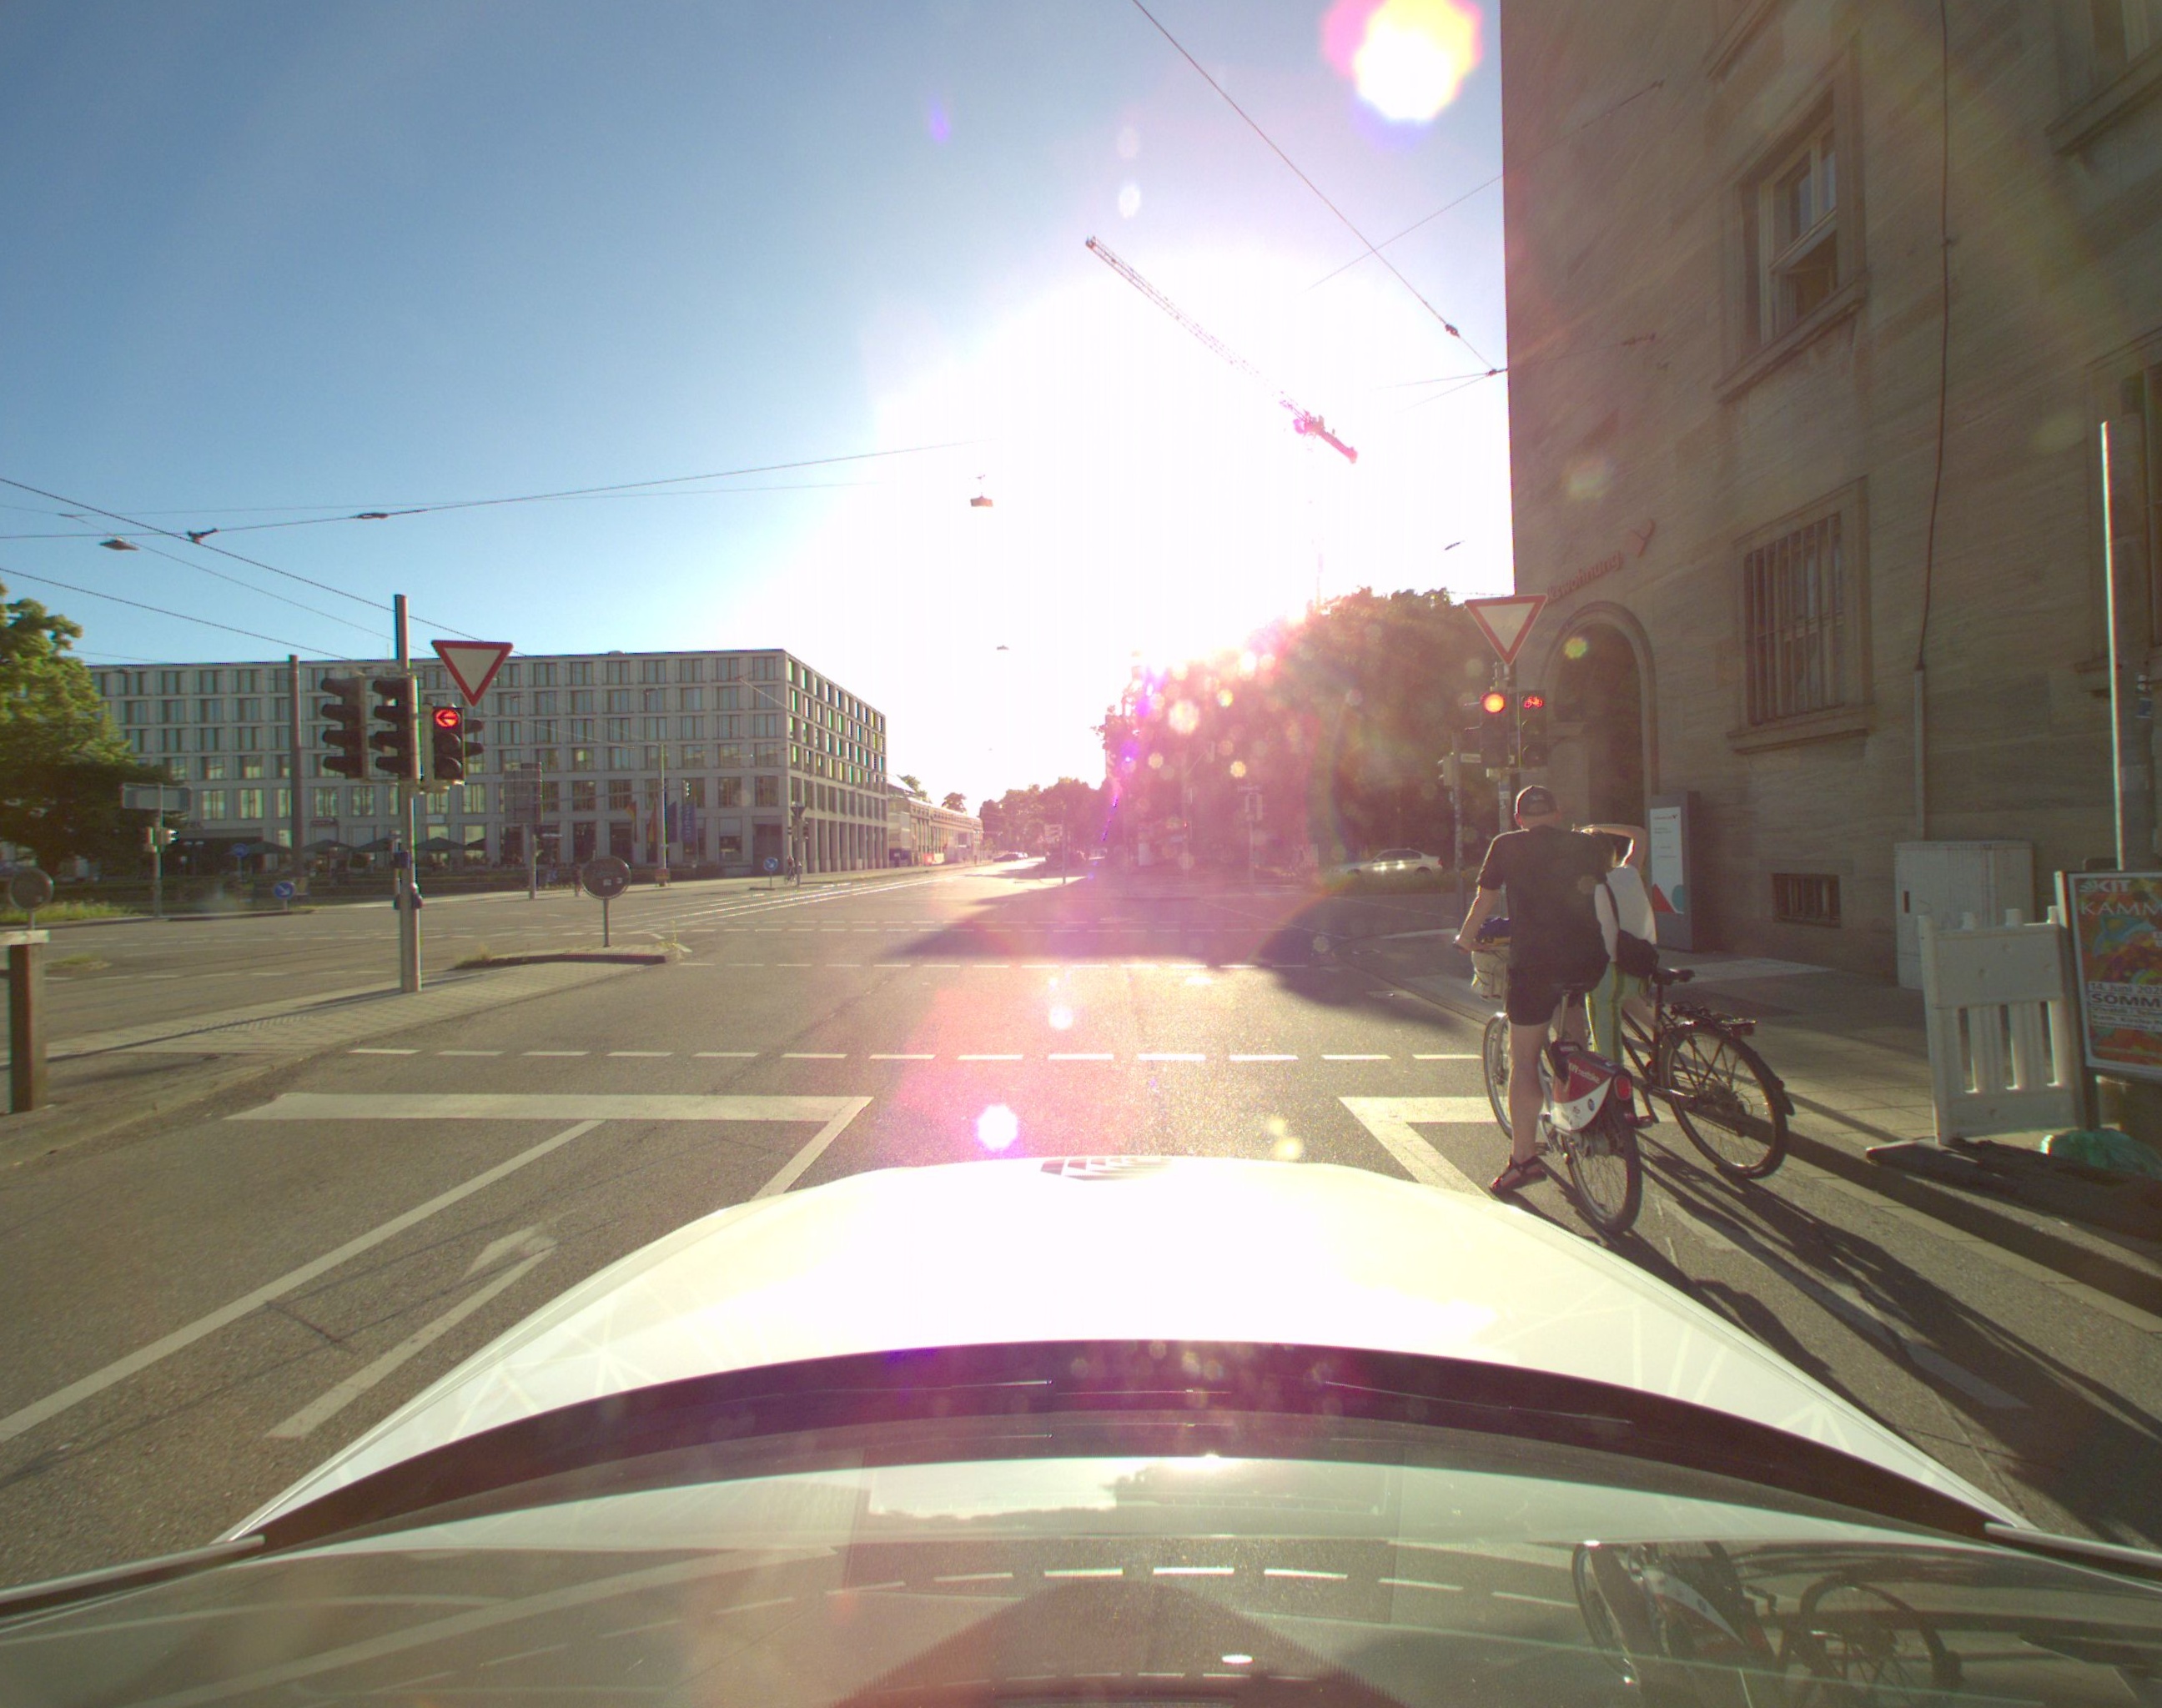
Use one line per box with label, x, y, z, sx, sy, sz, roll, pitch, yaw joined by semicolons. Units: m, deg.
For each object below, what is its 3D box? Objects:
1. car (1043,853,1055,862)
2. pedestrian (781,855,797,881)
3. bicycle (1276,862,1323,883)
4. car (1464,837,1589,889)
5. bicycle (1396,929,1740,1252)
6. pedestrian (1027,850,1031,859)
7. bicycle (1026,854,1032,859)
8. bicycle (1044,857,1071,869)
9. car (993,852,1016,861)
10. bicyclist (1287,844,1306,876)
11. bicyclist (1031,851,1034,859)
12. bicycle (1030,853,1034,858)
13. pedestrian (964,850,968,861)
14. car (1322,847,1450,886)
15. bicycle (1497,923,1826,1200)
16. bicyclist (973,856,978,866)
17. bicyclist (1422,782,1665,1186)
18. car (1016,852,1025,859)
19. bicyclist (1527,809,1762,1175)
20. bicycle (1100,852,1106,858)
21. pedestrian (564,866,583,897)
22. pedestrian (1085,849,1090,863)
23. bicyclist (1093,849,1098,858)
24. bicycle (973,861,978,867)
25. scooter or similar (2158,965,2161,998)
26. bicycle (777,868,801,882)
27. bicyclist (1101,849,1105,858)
car;-5.866;0.604;151.258;1.986;1.640;4.001;0;-1;2
pedestrian;-18.232;0.896;50.874;0.568;1.595;0.747;-2;0;11
bicycle;9.712;0.831;36.291;1.932;0.889;0.719;-1;-1;8
car;17.882;0.353;32.864;3.970;2.014;2.002;0;-1;3
bicycle;2.185;0.976;3.965;0.621;1.044;1.747;-2;0;1
pedestrian;-12.231;0.205;190.906;0.746;2.063;1.052;0;-1;7
bicycle;-12.233;0.659;190.906;0.746;1.205;3.114;0;-1;7
bicycle;-1.965;0.750;67.443;2.240;0.940;0.653;-2;0;-4
car;-14.598;0.535;155.623;4.009;1.599;1.982;-2;0;-28
bicyclist;9.619;0.268;36.304;0.742;1.406;0.704;0;-1;8
bicyclist;-11.718;0.170;196.356;0.748;1.920;1.214;0;-1;1
bicycle;-11.713;0.432;196.473;0.748;1.205;3.108;0;-1;1
pedestrian;-19.333;0.218;136.828;0.582;1.889;0.481;-1;-1;31
car;12.435;0.506;33.422;4.559;1.516;2.001;0;-1;1
bicycle;2.966;0.975;4.411;0.579;1.044;1.748;-2;0;3
bicyclist;-15.765;1.068;121.950;0.492;1.498;0.667;-2;0;4
bicyclist;2.178;0.556;3.954;0.621;1.715;0.913;-2;0;0
car;-14.455;0.294;195.332;1.988;1.644;3.998;-2;0;-1
bicyclist;2.957;0.660;4.377;0.581;1.738;0.951;-2;0;2
bicycle;5.017;0.208;187.199;0.890;1.219;2.784;0;-1;-9
pedestrian;-28.344;1.549;45.477;0.600;1.681;0.608;-2;0;9
pedestrian;0.785;0.265;97.892;0.576;1.689;0.584;-2;0;-6
bicyclist;3.315;-0.179;186.939;0.891;2.014;0.746;0;-1;-10
bicycle;-15.755;1.522;121.962;0.492;0.839;1.158;-2;0;4
scooter or similar;3.241;0.877;1.698;0.568;1.150;1.279;-5;-3;23
bicycle;-18.218;1.286;50.875;0.568;0.823;1.724;-2;0;11
bicyclist;5.019;-0.190;187.123;0.891;2.014;0.746;0;-1;-10
